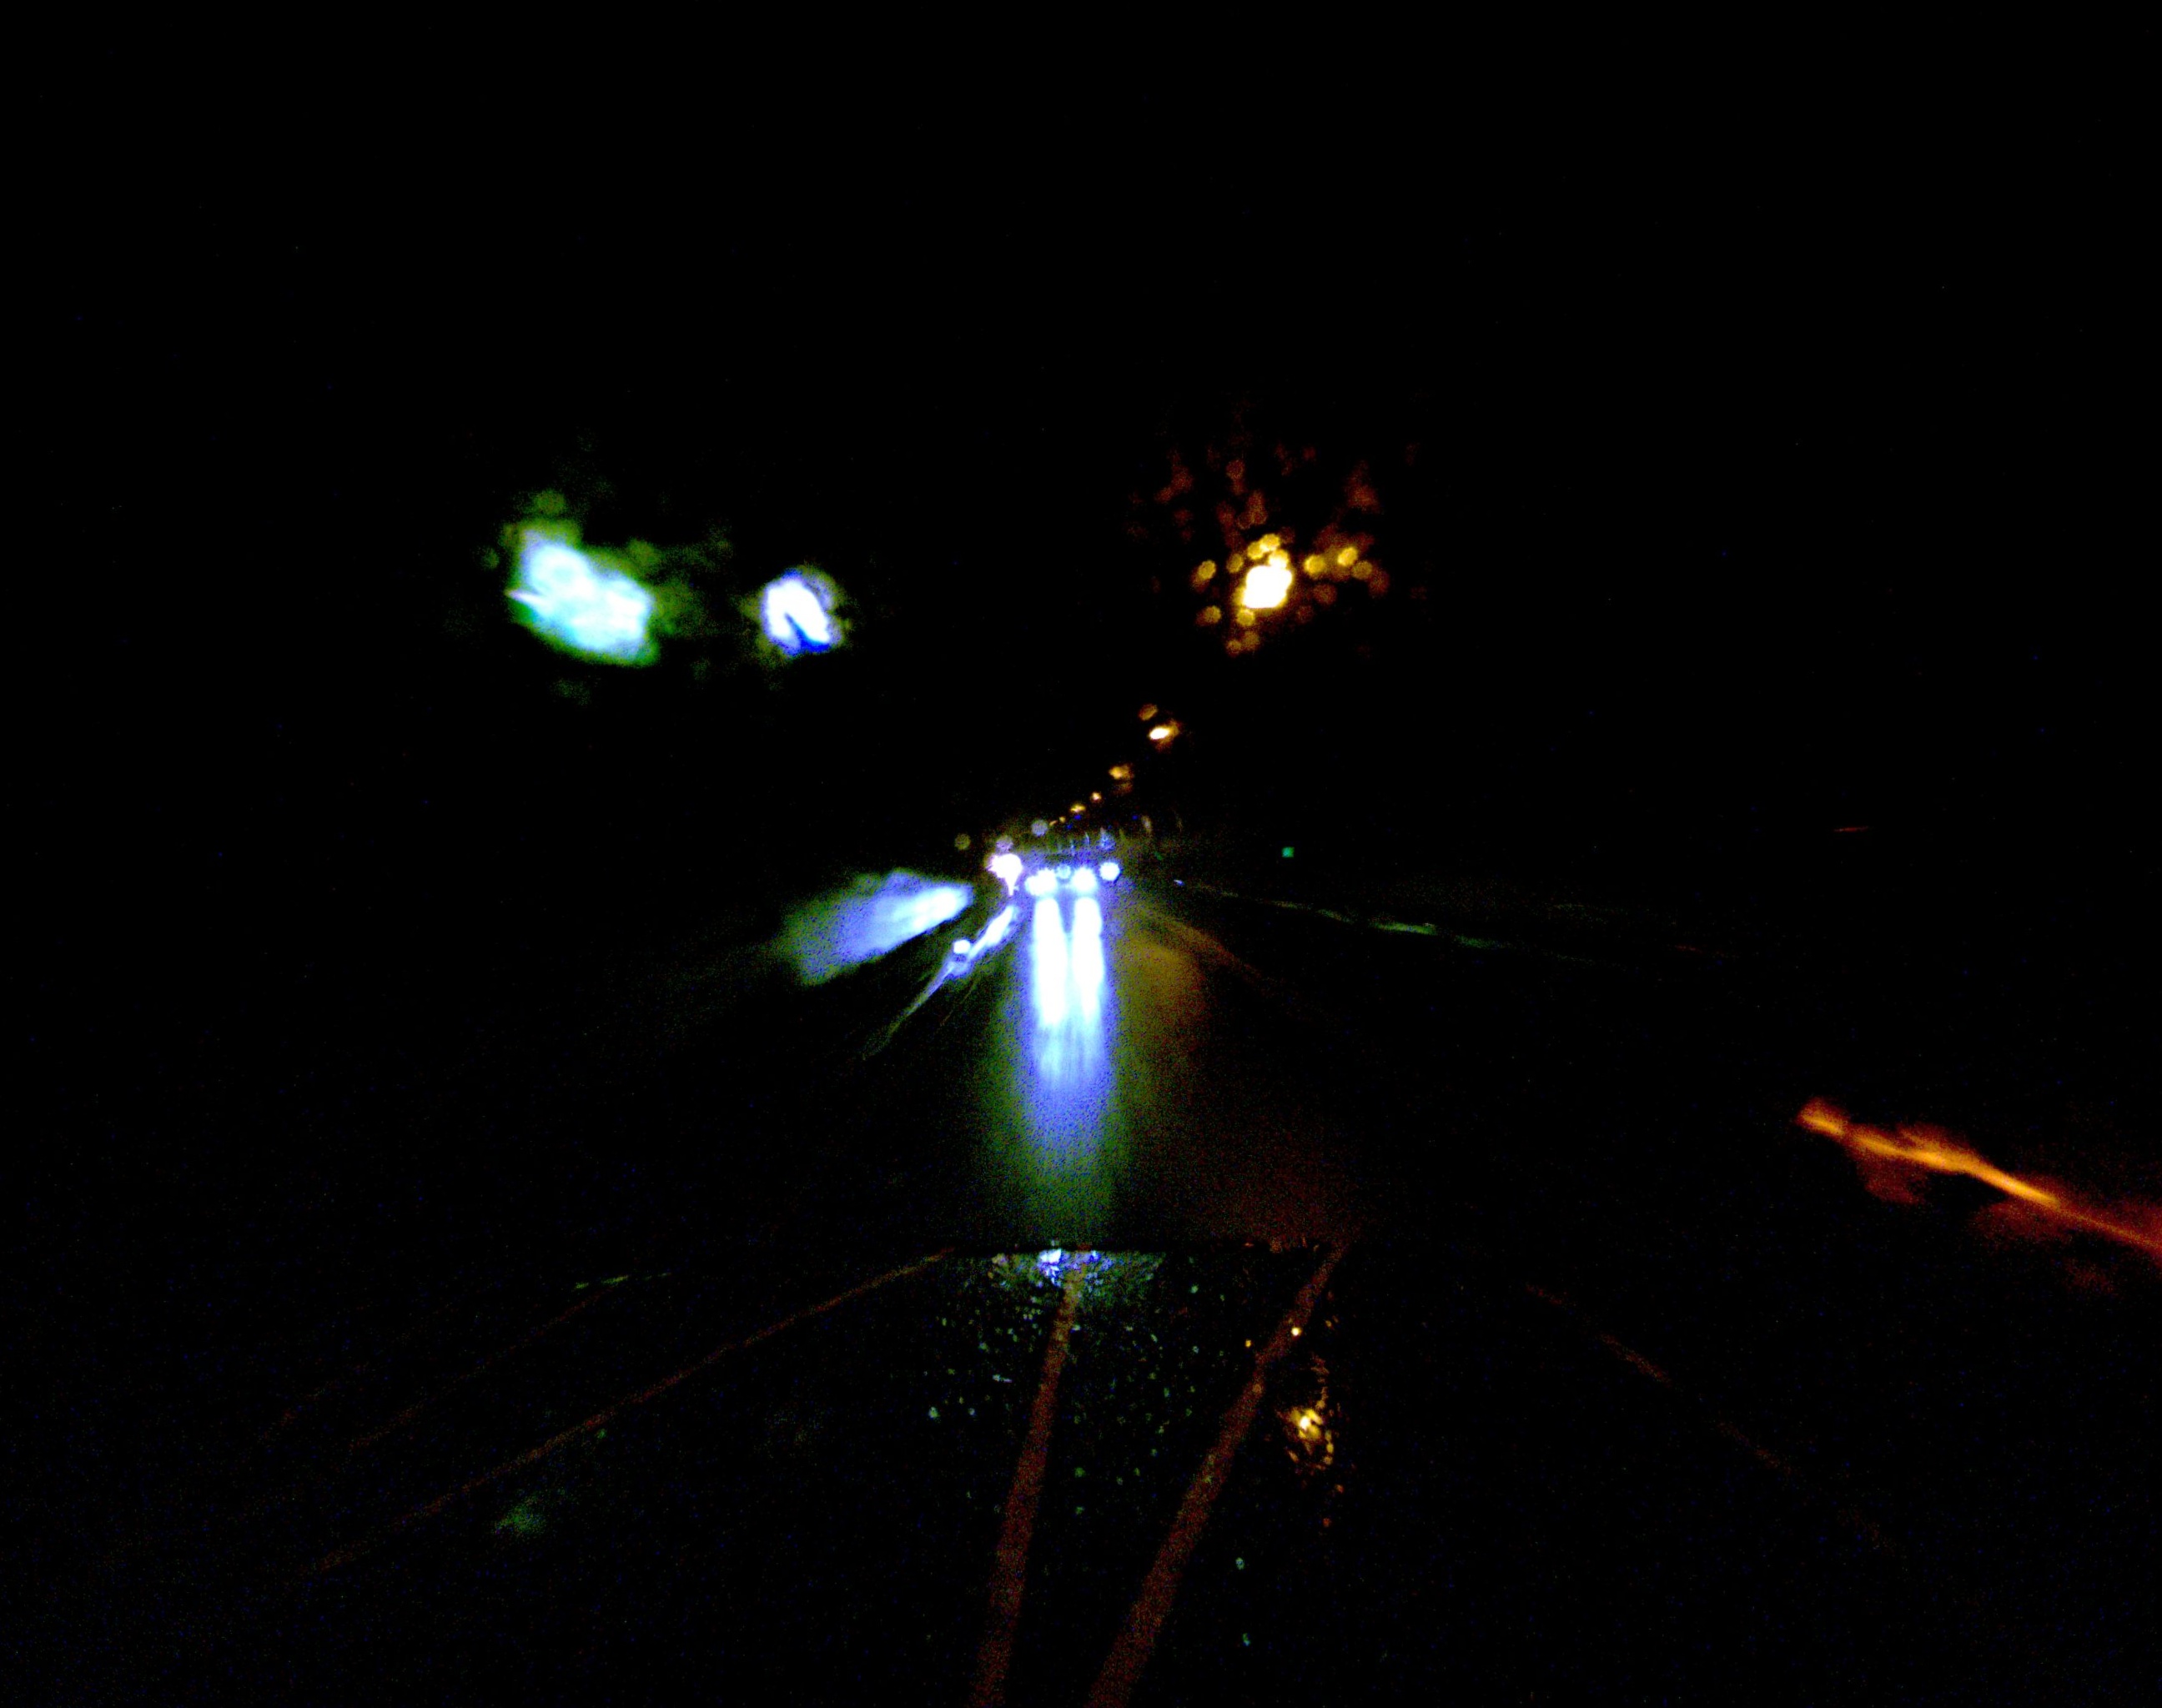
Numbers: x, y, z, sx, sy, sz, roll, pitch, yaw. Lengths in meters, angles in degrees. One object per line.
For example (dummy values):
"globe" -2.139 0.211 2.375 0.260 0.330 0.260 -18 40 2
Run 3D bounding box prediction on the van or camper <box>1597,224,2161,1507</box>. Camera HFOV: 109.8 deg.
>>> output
"van or camper" 3.575 0.024 0.191 2.419 2.866 6.678 -3 1 2

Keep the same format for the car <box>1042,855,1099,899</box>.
"car" -0.488 0.883 30.746 1.999 1.546 3.998 -2 0 -4
